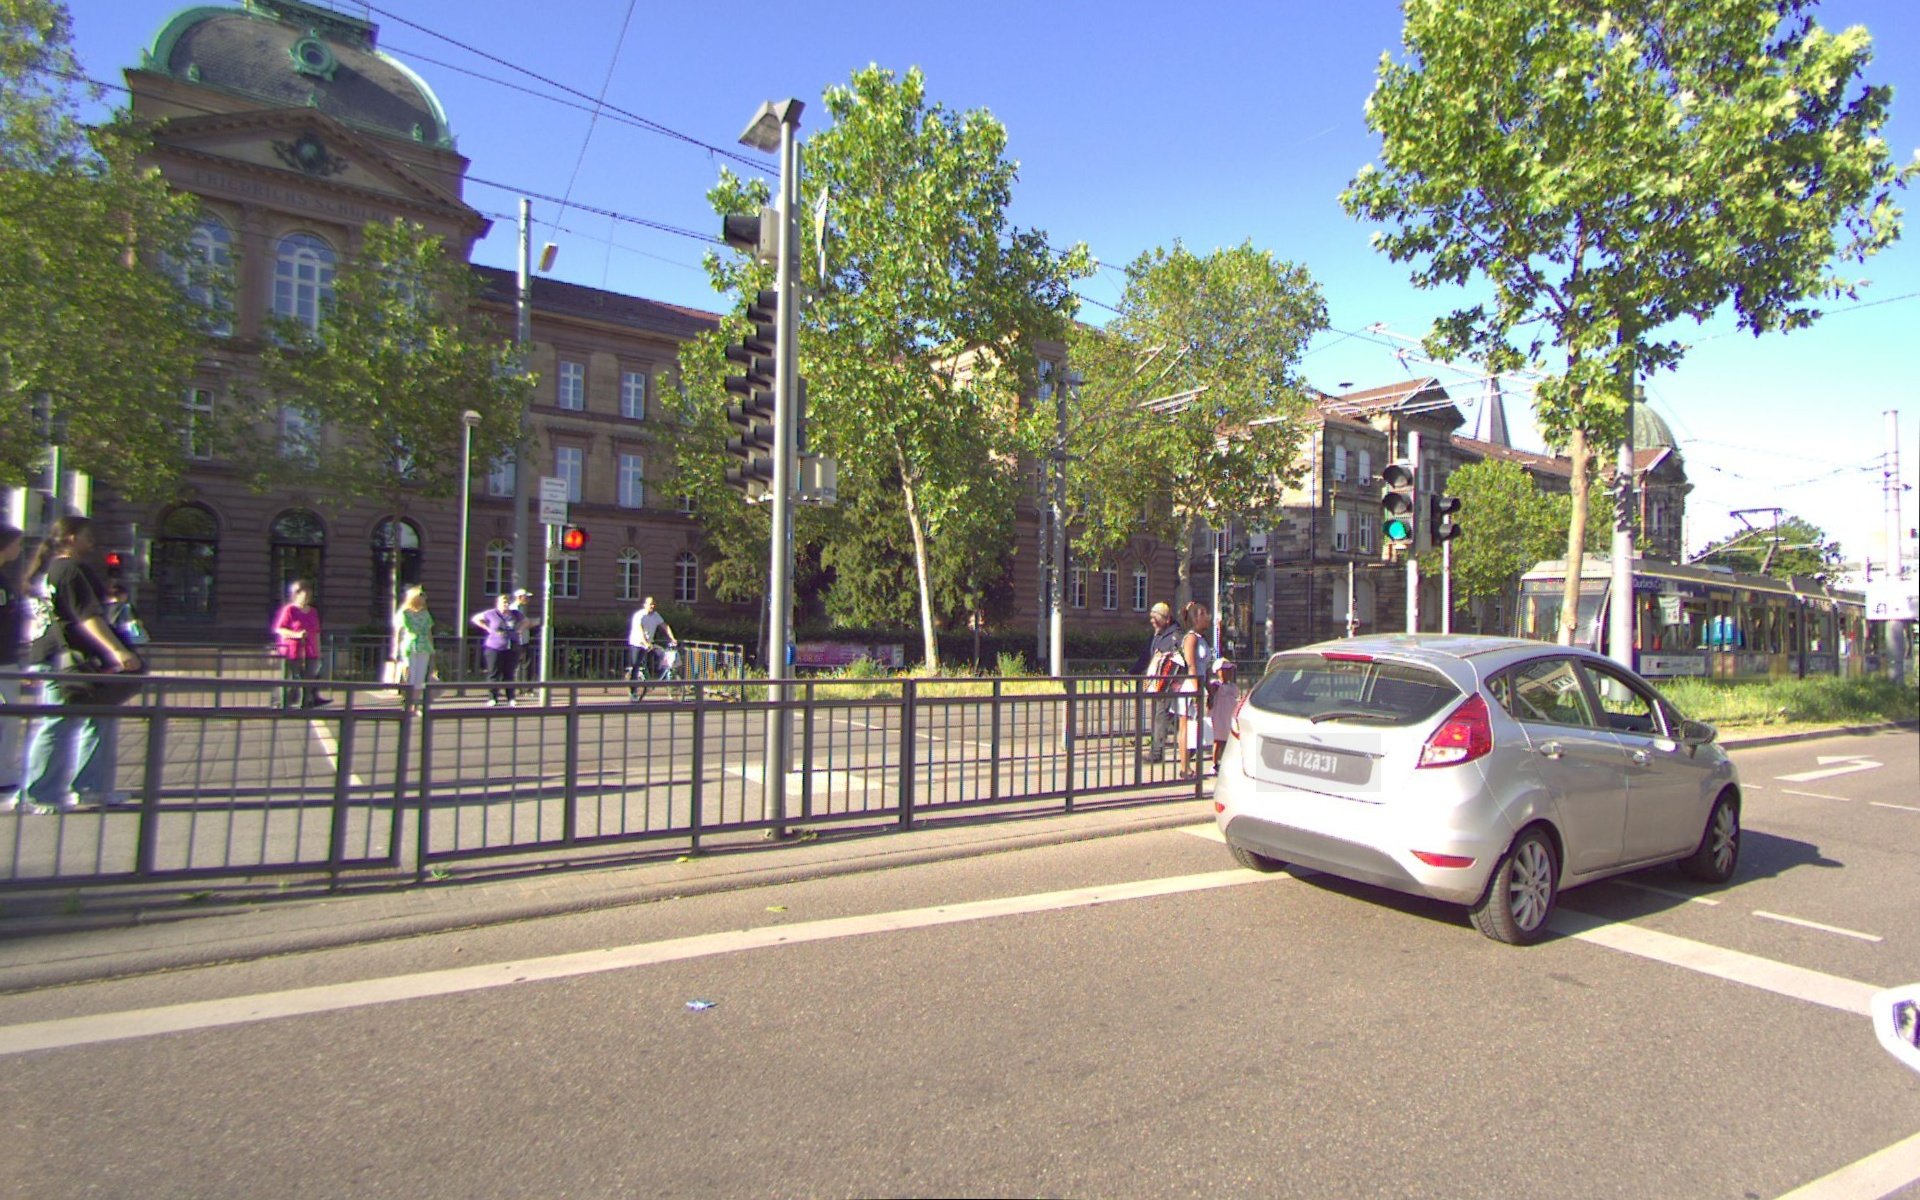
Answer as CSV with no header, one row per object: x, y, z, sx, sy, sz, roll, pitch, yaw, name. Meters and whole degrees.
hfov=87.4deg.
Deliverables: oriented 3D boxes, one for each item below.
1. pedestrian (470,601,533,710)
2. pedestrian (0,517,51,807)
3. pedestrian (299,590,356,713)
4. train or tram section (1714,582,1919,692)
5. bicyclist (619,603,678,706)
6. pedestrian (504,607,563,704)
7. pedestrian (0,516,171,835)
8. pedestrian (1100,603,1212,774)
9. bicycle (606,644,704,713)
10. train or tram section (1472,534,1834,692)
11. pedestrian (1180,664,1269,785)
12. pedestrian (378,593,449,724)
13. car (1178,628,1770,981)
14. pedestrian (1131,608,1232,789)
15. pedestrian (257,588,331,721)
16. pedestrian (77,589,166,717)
-6.969,0.827,15.253,0.699,1.603,0.613,3,-2,-39,pedestrian
-5.981,0.367,6.128,0.541,1.724,0.604,3,-2,-38,pedestrian
-9.308,0.753,14.802,0.625,1.766,0.704,2,-2,-30,pedestrian
30.821,1.465,35.539,12.990,3.303,2.894,4,-1,-36,train or tram section
-5.143,0.885,16.584,0.653,1.648,0.655,1,-1,45,bicyclist
-7.132,0.917,16.787,0.771,1.582,0.704,2,-2,-32,pedestrian
-5.130,0.427,5.885,0.741,1.724,0.627,3,-2,-39,pedestrian
1.966,0.875,10.147,0.926,1.650,0.628,2,-1,-6,pedestrian
-5.011,1.262,16.450,1.648,0.999,0.831,1,-1,45,bicycle
19.278,0.672,27.038,15.743,3.303,2.894,4,-1,-36,train or tram section
2.536,1.167,9.637,0.525,1.087,0.626,3,-2,-39,pedestrian
-7.368,0.783,13.546,0.699,1.701,0.613,3,-2,-39,pedestrian
3.159,0.960,5.955,3.597,1.428,1.649,3,-1,-36,car
2.026,0.876,9.206,0.641,1.577,0.626,3,-2,-39,pedestrian
-8.701,0.701,13.130,0.704,1.671,0.626,3,-2,-39,pedestrian
-11.415,0.712,13.681,0.696,1.686,0.632,1,-2,24,pedestrian
